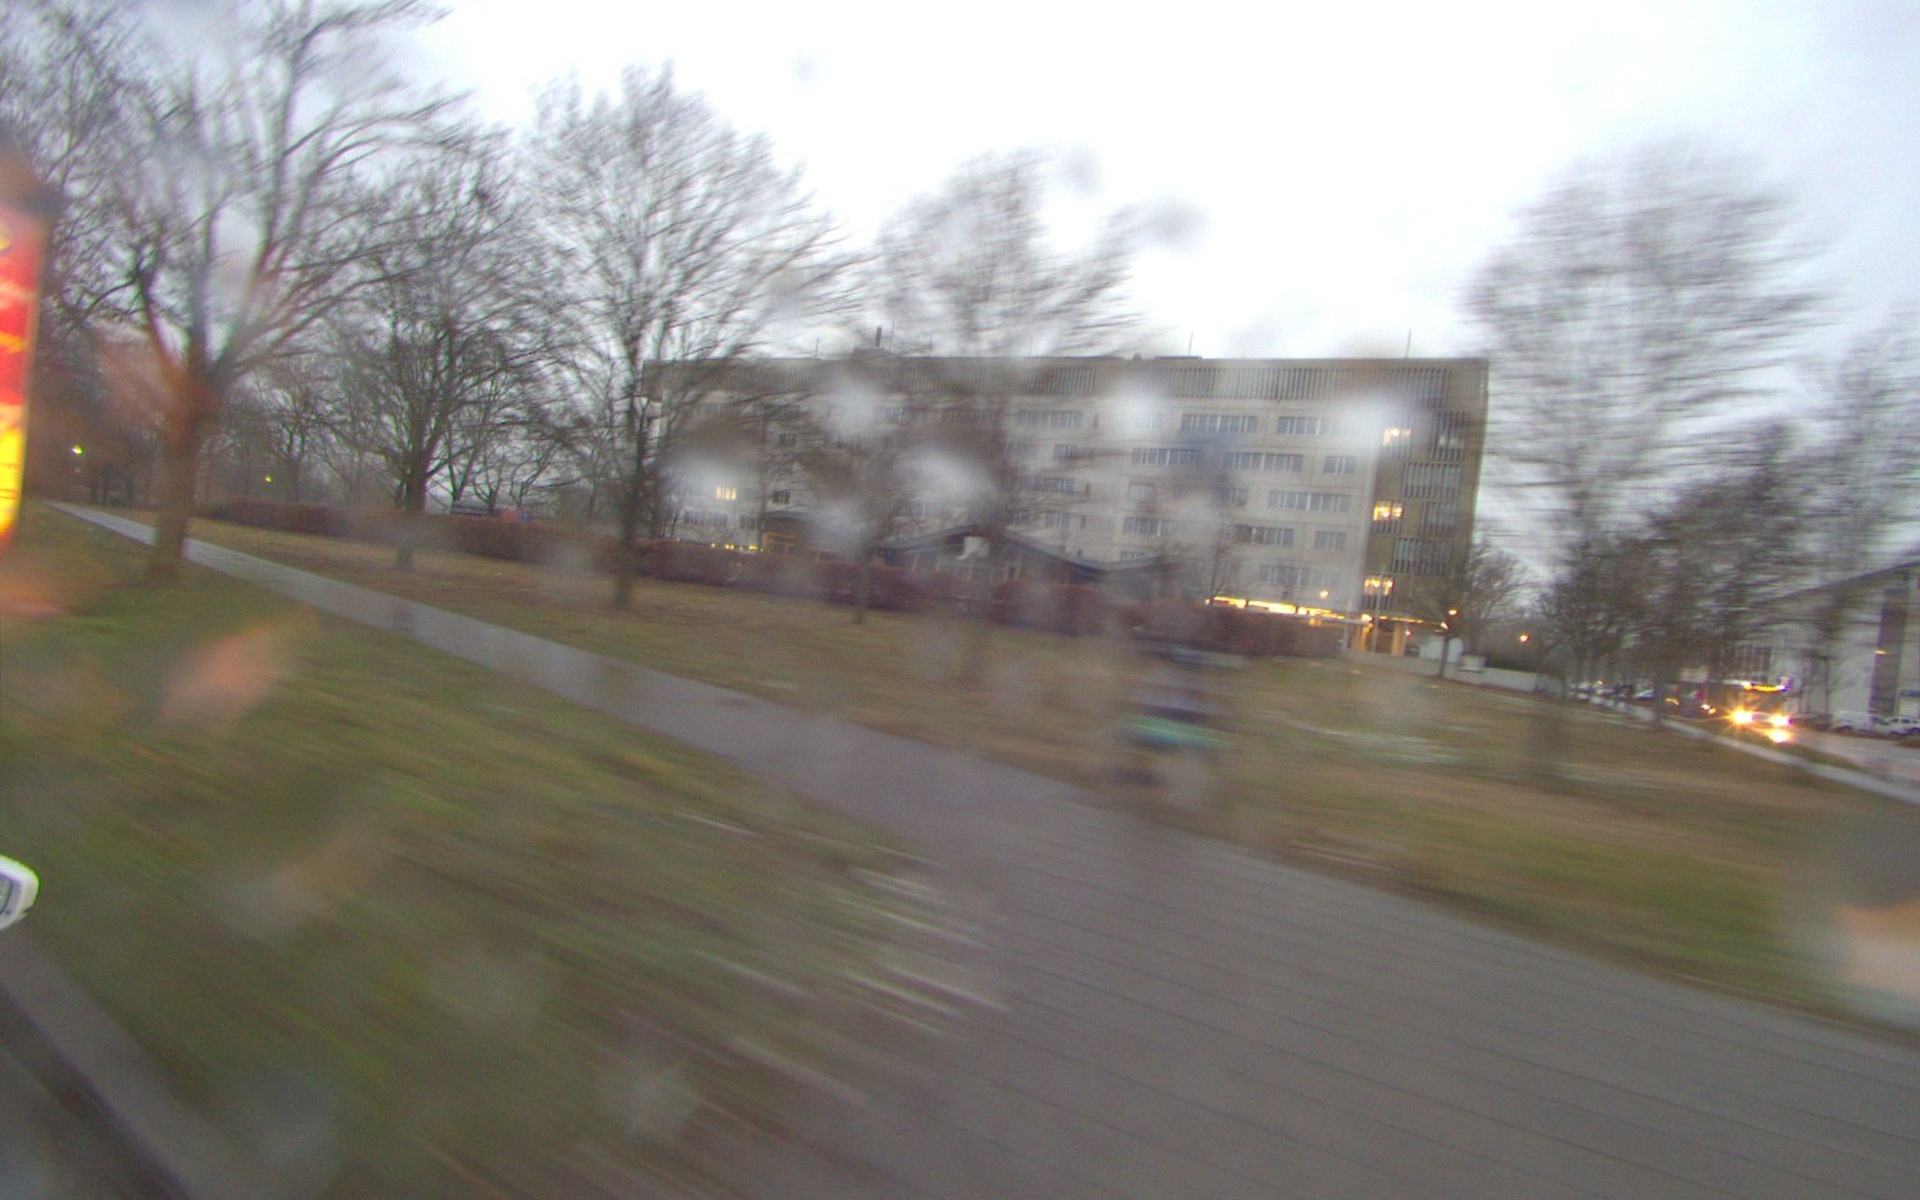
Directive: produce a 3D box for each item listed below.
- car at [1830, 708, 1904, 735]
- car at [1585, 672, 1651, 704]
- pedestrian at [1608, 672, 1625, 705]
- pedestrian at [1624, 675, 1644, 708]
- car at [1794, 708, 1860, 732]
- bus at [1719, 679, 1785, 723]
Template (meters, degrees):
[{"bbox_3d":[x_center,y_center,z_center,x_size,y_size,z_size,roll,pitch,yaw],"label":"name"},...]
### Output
[{"bbox_3d":[68.267,9.167,75.783,3.801,1.470,1.670,6,-2,30],"label":"car"},{"bbox_3d":[53.635,7.197,82.009,4.218,2.037,1.994,5,-2,37],"label":"car"},{"bbox_3d":[43.202,5.830,66.215,0.789,2.037,0.640,6,-1,34],"label":"pedestrian"},{"bbox_3d":[43.809,5.939,65.389,0.801,2.037,0.751,6,-1,29],"label":"pedestrian"},{"bbox_3d":[72.926,10.100,84.678,3.801,1.470,1.670,6,-2,30],"label":"car"},{"bbox_3d":[56.648,7.277,72.093,2.258,2.743,8.140,6,-2,30],"label":"bus"}]
